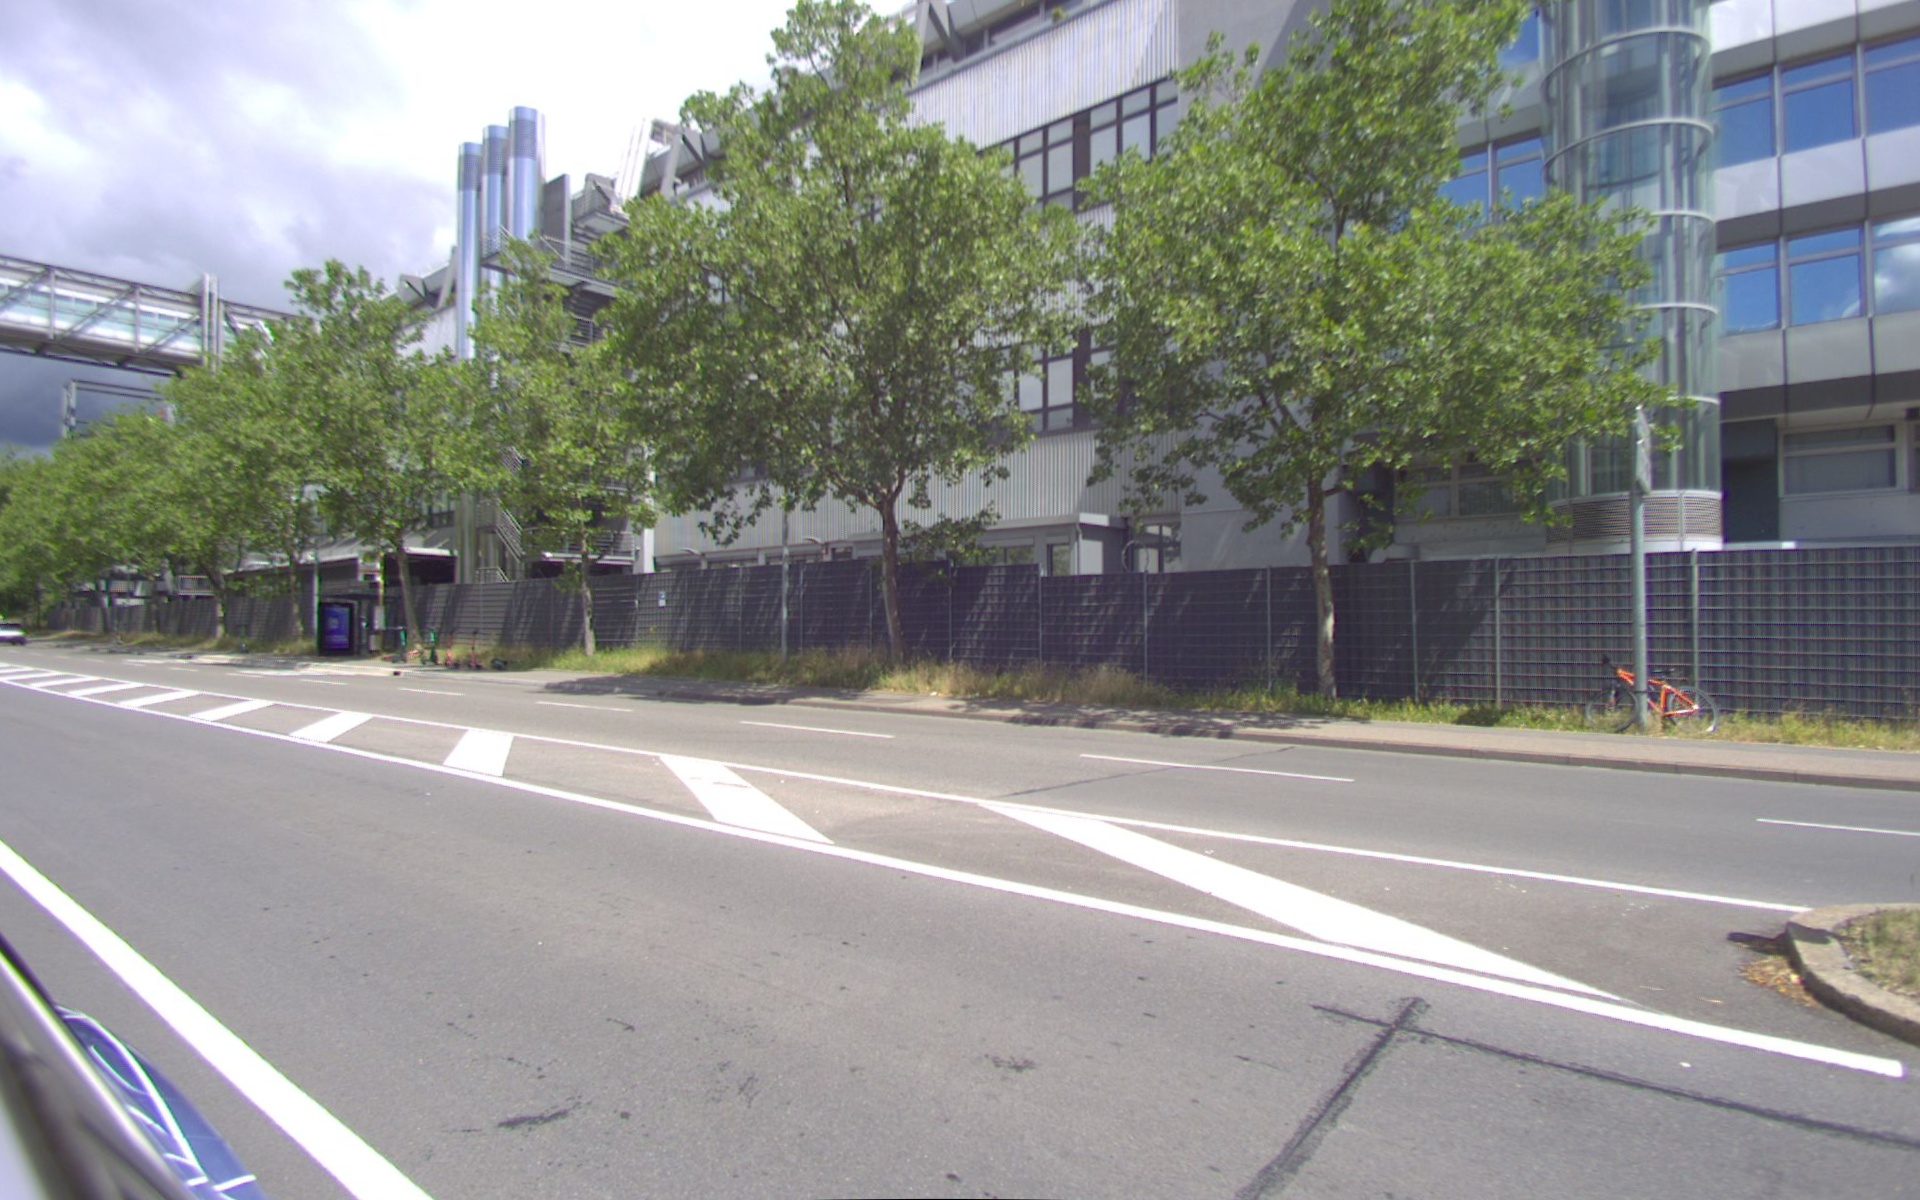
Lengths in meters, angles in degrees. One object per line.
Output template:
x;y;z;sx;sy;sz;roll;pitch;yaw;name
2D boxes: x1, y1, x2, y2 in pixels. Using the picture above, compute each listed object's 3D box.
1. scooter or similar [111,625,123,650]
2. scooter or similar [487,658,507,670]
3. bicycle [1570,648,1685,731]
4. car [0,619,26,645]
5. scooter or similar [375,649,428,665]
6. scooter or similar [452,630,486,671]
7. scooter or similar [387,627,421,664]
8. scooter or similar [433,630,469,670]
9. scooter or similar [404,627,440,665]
-49.292;2.205;59.165;1.234;1.414;0.300;0;0;39;scooter or similar
-14.427;1.991;31.538;0.529;0.325;1.276;-1;-1;-26;scooter or similar
8.923;1.175;13.567;0.293;1.013;1.254;0;0;-40;bicycle
-59.427;1.977;62.534;4.186;1.517;1.860;-2;-4;39;car
-20.044;2.039;36.360;1.341;0.383;1.494;-3;1;-16;scooter or similar
-15.370;1.574;31.657;0.517;1.244;1.318;-3;1;-44;scooter or similar
-19.241;1.576;35.000;1.316;1.244;0.518;-2;1;39;scooter or similar
-16.393;1.612;32.584;1.317;1.244;0.517;-2;1;41;scooter or similar
-18.081;1.538;34.008;1.316;1.244;0.518;-2;1;39;scooter or similar
